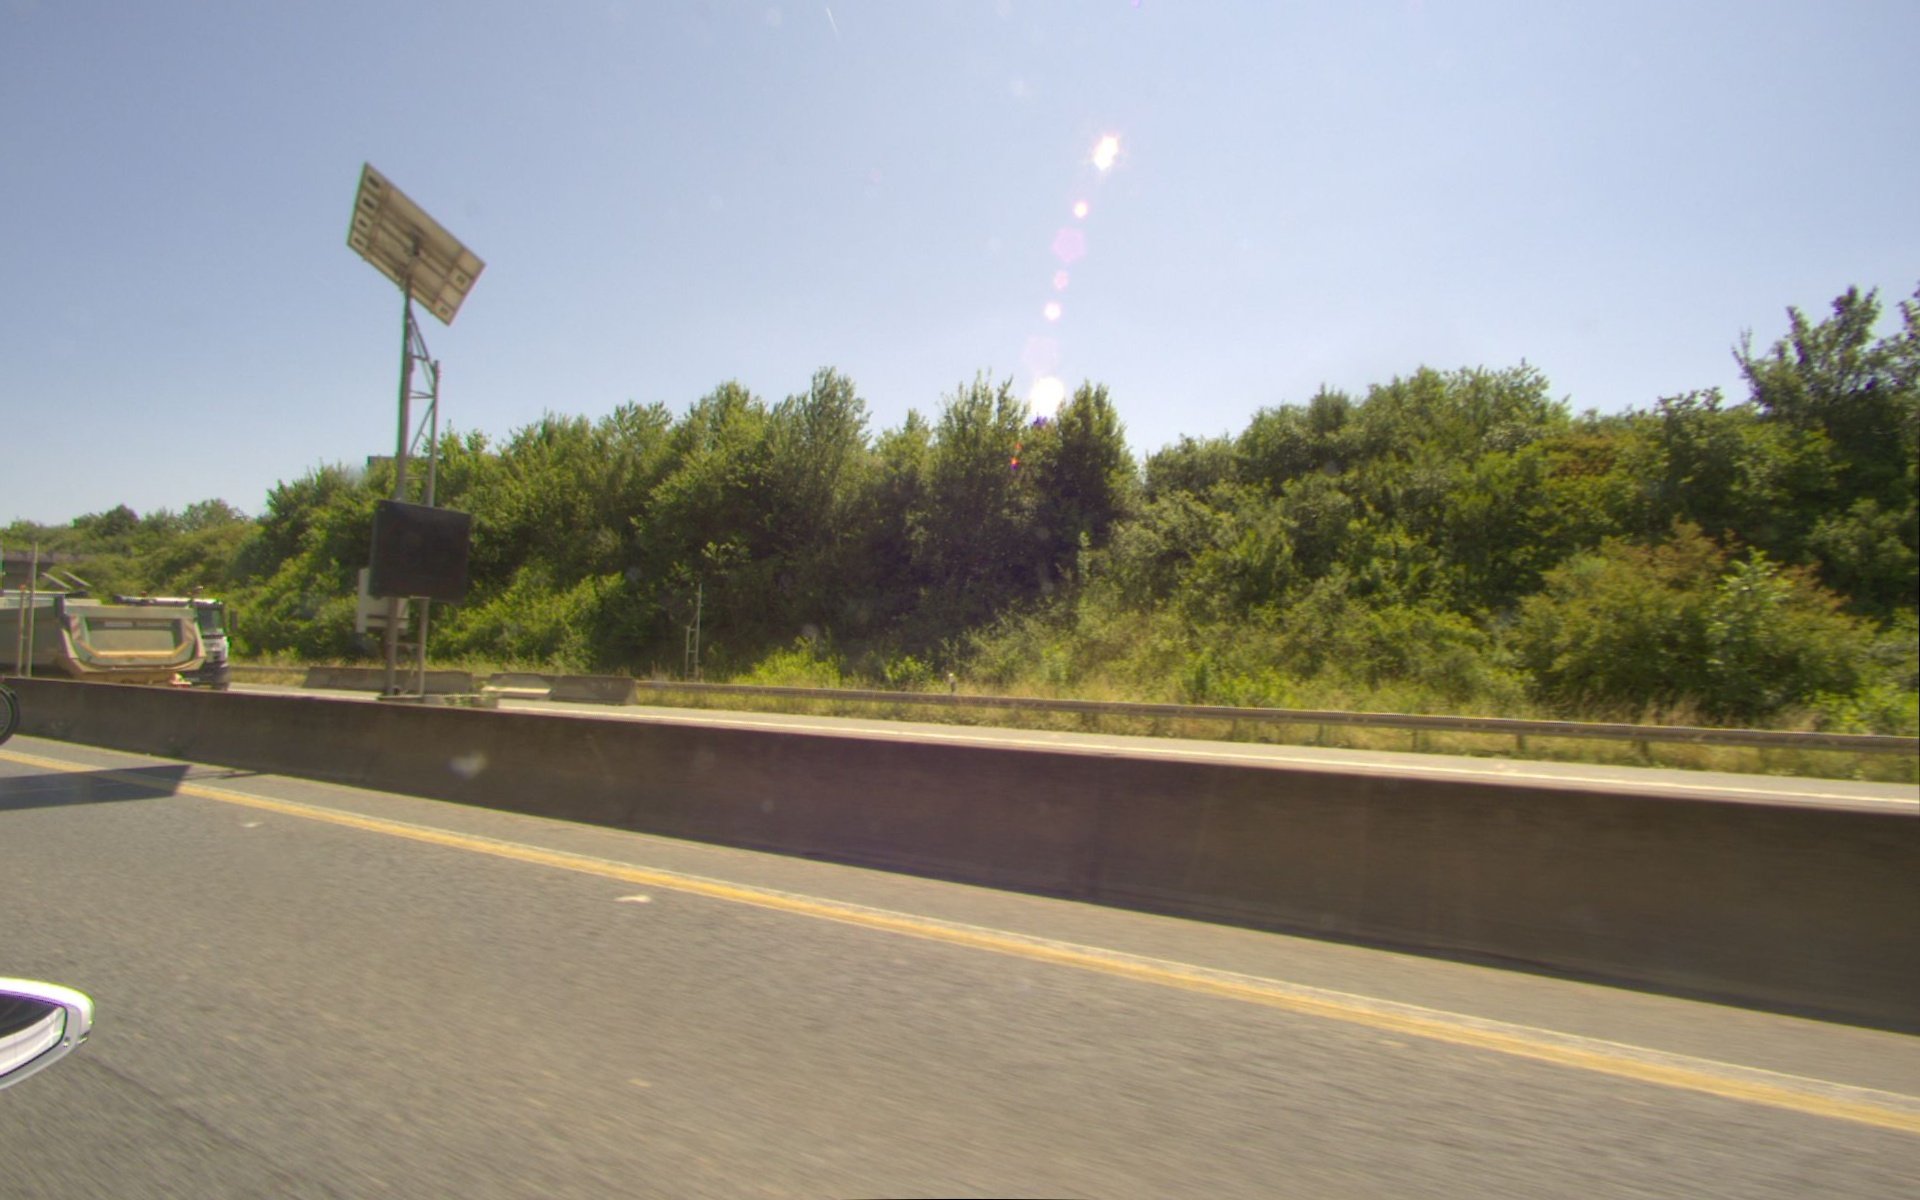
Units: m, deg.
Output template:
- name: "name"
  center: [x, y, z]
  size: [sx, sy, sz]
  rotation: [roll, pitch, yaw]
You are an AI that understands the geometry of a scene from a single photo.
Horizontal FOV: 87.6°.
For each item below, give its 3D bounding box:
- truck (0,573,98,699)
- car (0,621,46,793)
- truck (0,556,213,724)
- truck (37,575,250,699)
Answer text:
- name: "truck"
  center: [-30.402, 1.116, 31.490]
  size: [8.816, 3.555, 2.529]
  rotation: [-1, -2, 33]
- name: "car"
  center: [-10.871, 0.969, 9.593]
  size: [4.877, 1.509, 1.896]
  rotation: [-1, -3, 32]
- name: "truck"
  center: [-21.998, 0.951, 24.712]
  size: [8.964, 3.555, 2.530]
  rotation: [-1, -2, 32]
- name: "truck"
  center: [-26.310, 1.162, 32.129]
  size: [8.258, 3.555, 2.684]
  rotation: [-1, -2, 31]
